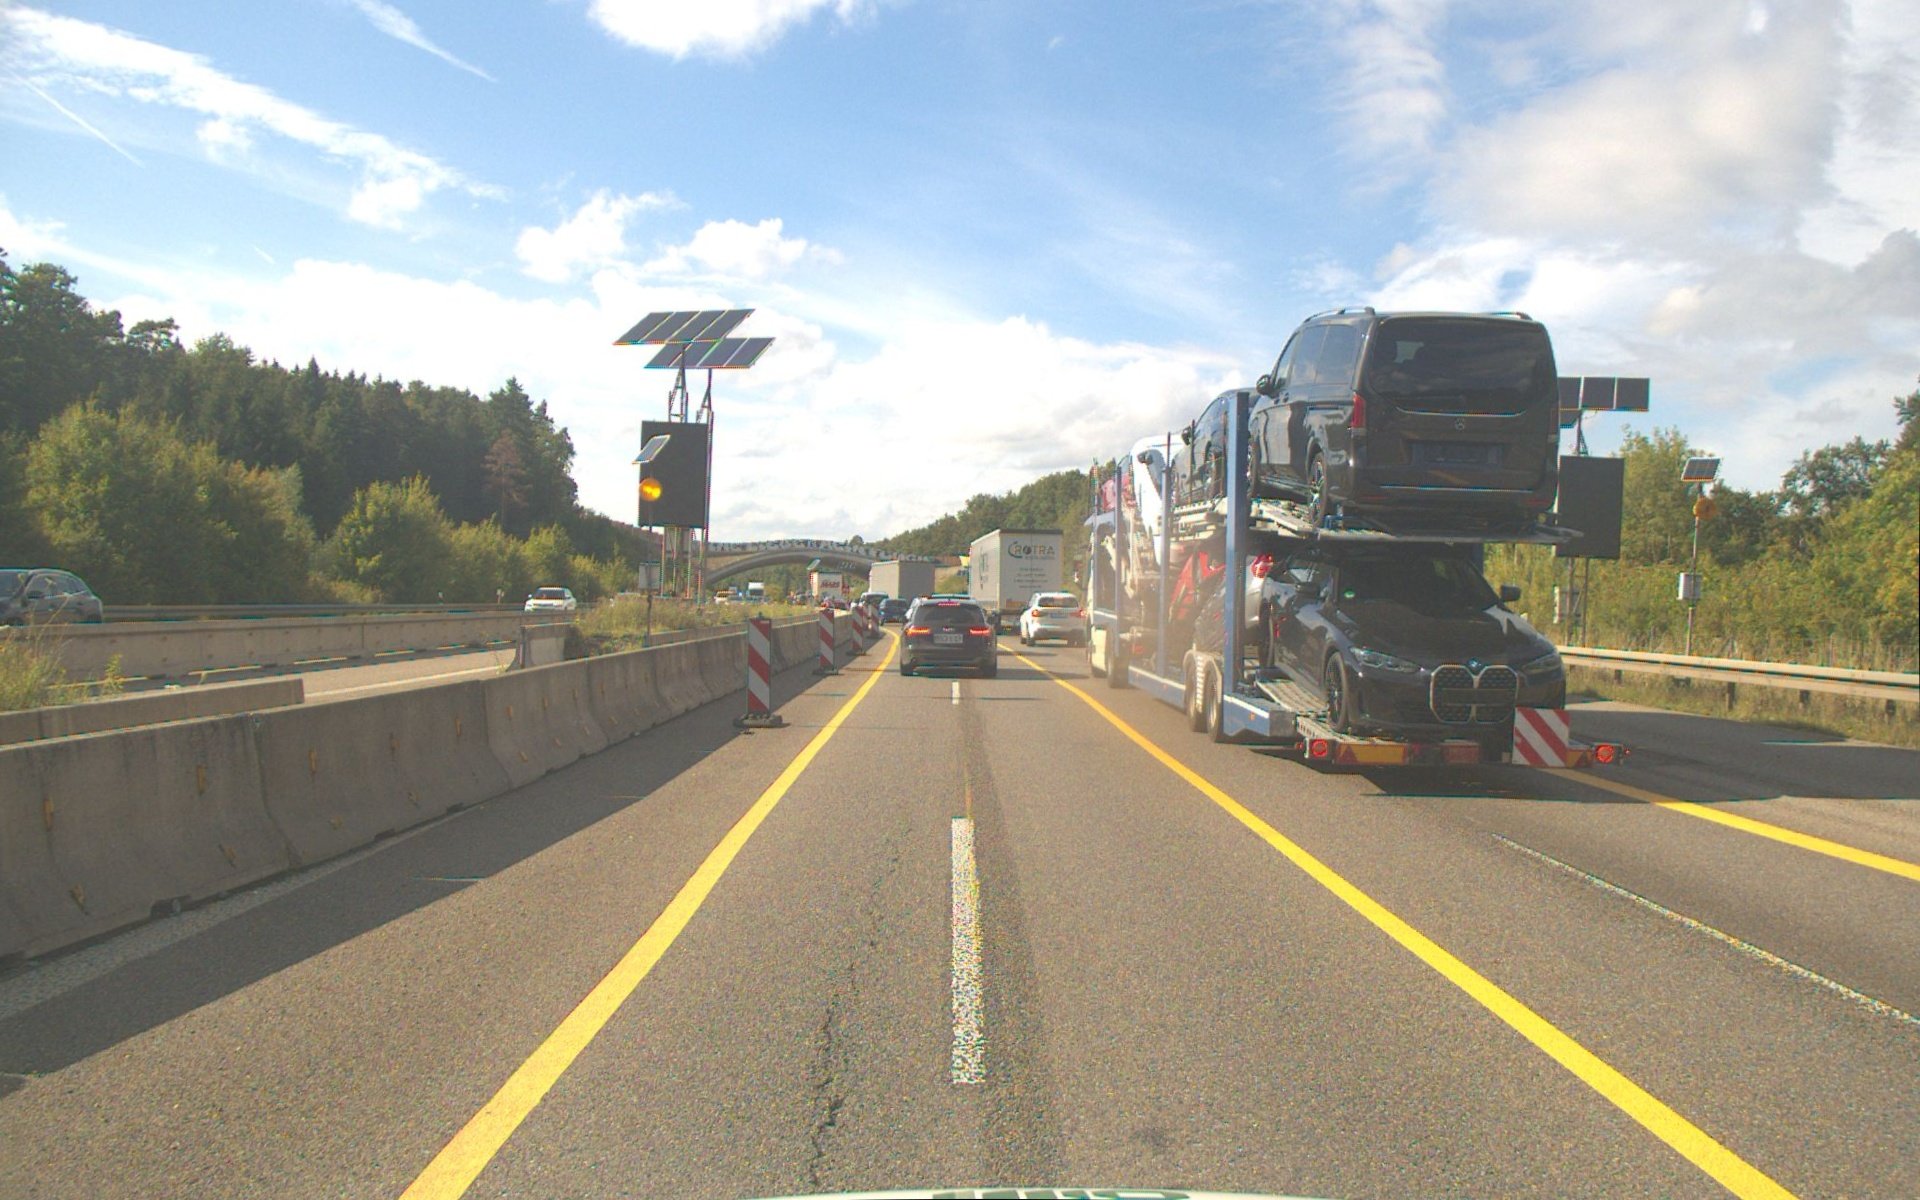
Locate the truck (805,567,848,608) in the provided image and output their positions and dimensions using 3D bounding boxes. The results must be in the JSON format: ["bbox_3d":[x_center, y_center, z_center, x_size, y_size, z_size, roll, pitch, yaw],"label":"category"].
[{"bbox_3d":[-13.949,-1.256,172.238,3.586,3.997,11.044,1,0,-9],"label":"truck"}]

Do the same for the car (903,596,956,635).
[{"bbox_3d":[-1.246,0.601,65.799,1.853,1.472,3.996,1,0,-5],"label":"car"}]

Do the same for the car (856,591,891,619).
[{"bbox_3d":[-5.370,0.327,102.100,1.854,1.672,4.012,1,0,-7],"label":"car"}]

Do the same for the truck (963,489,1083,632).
[{"bbox_3d":[2.455,-1.526,71.884,3.604,5.447,16.190,1,0,-3],"label":"truck"}]

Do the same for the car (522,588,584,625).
[{"bbox_3d":[-18.681,0.275,76.042,1.741,1.630,4.018,1,0,1],"label":"car"}]

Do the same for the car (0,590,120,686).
[{"bbox_3d":[-17.132,0.627,29.604,1.918,1.616,4.482,1,0,0],"label":"car"}]

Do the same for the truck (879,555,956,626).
[{"bbox_3d":[-3.144,-0.656,117.020,4.238,4.681,11.105,1,0,-8],"label":"truck"}]

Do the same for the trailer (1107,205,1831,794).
[{"bbox_3d":[4.481,-0.731,20.288,3.650,4.269,16.224,1,0,-1],"label":"trailer"}]

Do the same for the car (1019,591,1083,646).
[{"bbox_3d":[2.865,0.570,52.728,1.851,1.672,4.018,1,0,1],"label":"car"}]

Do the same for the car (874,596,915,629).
[{"bbox_3d":[-3.540,0.656,88.995,1.854,1.672,4.011,1,0,-7],"label":"car"}]

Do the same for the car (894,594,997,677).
[{"bbox_3d":[-0.231,0.650,32.091,1.851,1.472,4.000,1,0,1],"label":"car"}]

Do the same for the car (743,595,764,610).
[{"bbox_3d":[-23.283,0.248,186.669,1.928,1.630,4.945,1,0,-2],"label":"car"}]

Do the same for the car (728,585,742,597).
[{"bbox_3d":[-34.717,-1.383,255.295,1.745,1.899,3.997,1,0,-3],"label":"car"}]

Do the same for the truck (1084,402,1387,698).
[{"bbox_3d":[4.341,-0.726,28.183,3.685,4.269,7.949,1,0,-1],"label":"truck"}]
